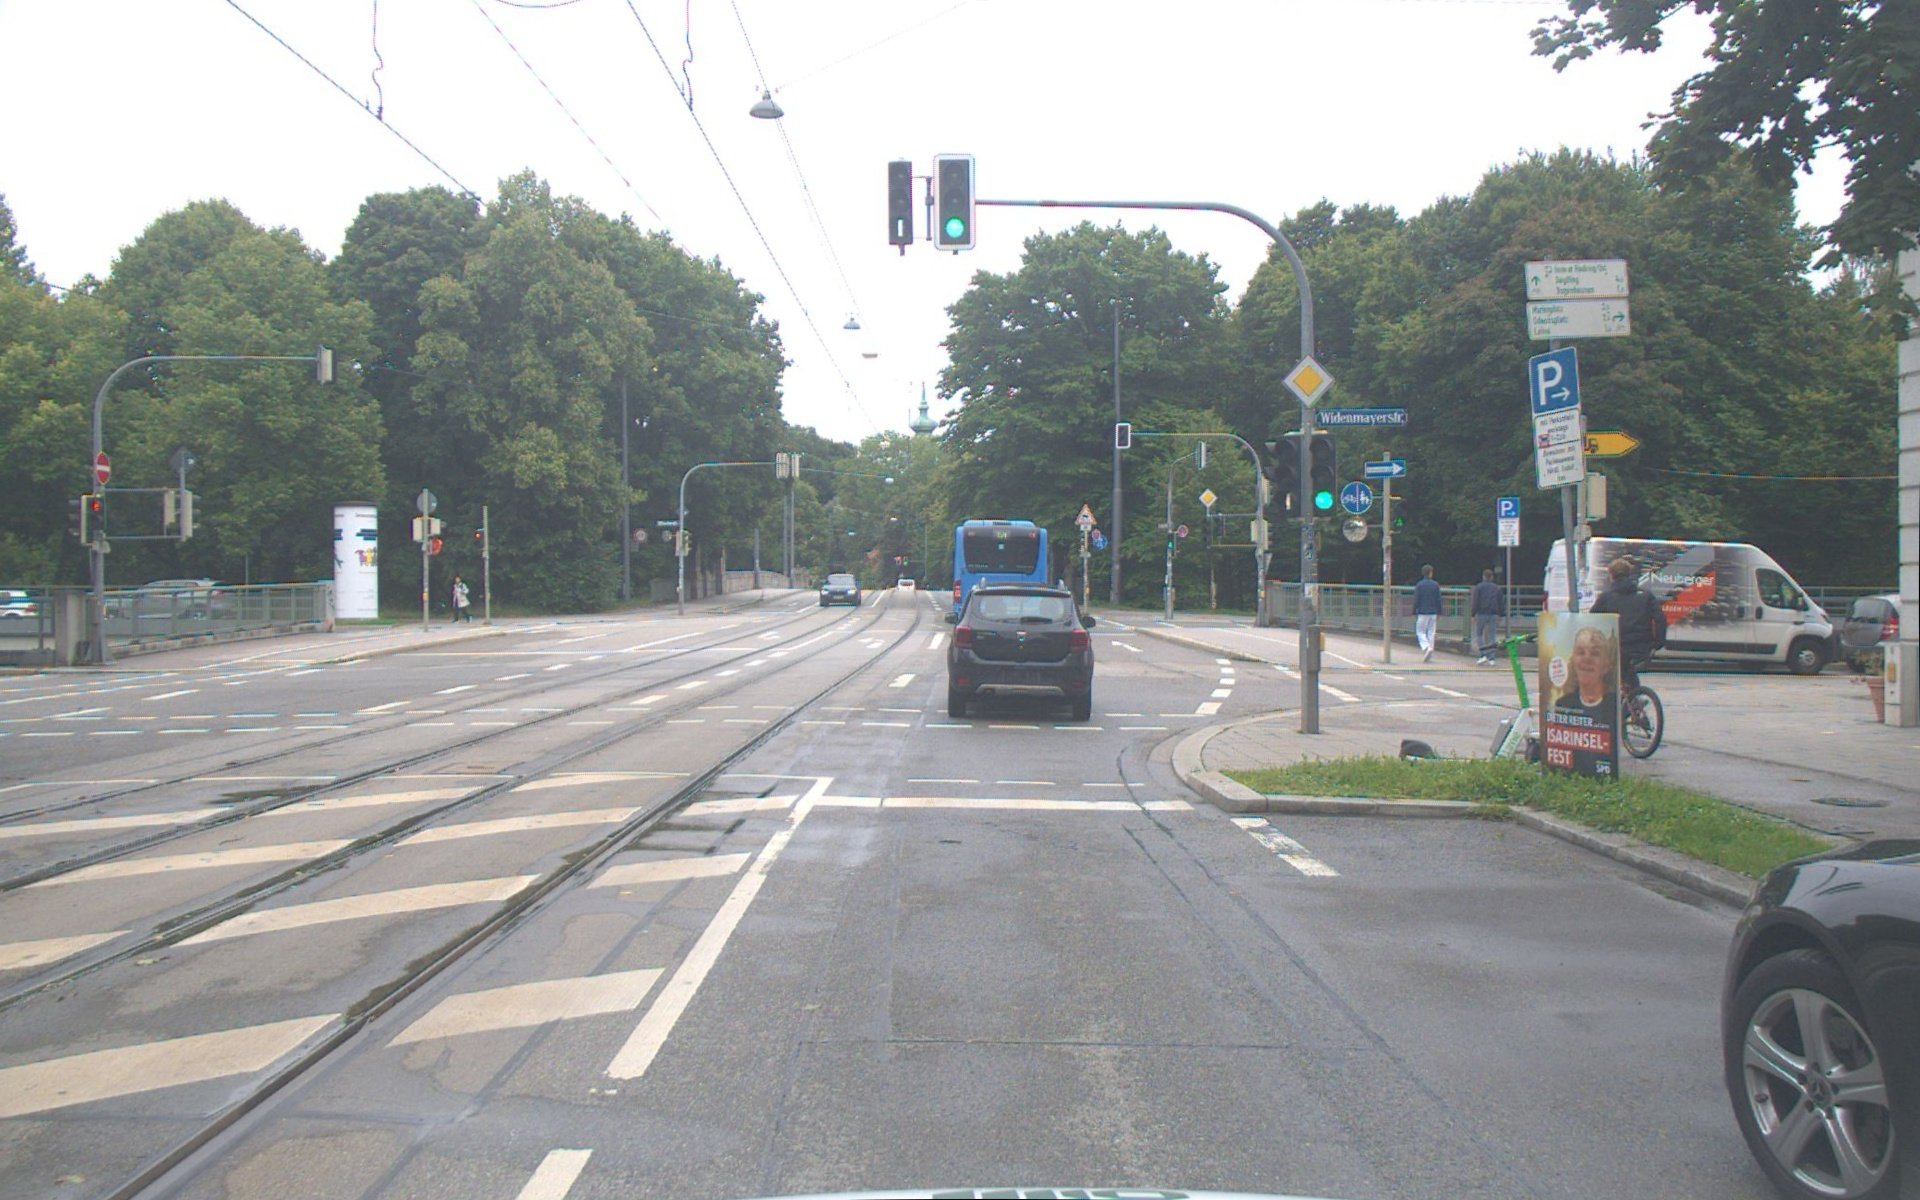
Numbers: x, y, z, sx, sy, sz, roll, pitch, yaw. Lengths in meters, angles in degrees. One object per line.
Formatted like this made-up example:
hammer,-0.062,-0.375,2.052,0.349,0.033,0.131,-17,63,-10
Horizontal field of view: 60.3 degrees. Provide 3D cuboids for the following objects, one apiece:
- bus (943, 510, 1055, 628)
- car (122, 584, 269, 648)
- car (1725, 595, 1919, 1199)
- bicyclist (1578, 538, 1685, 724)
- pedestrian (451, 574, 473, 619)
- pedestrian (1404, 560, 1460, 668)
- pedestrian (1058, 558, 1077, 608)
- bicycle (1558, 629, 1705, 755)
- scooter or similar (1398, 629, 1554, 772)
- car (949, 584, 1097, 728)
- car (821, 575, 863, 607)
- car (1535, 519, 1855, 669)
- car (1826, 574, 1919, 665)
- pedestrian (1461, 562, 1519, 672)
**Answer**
bus,0.989,-0.818,46.944,2.625,3.050,6.957,1,0,-3
car,-24.480,0.515,53.030,3.946,1.920,1.488,1,0,-8
car,2.959,0.819,2.340,1.679,1.619,4.326,1,0,-1
bicyclist,6.549,0.299,16.158,0.709,1.759,0.726,1,0,-2
pedestrian,-17.101,-0.105,56.839,0.520,1.527,0.588,1,0,3
pedestrian,9.142,0.269,32.075,0.813,2.049,0.780,1,0,-1
pedestrian,4.756,-0.752,73.078,0.747,2.153,0.853,1,0,-1
bicycle,6.538,0.865,16.210,0.567,1.097,1.911,-2,0,-2
scooter or similar,4.277,0.819,13.776,1.167,1.115,0.590,1,0,12
car,0.697,0.629,20.318,1.568,1.584,3.524,1,0,-1
car,-5.399,-0.400,76.063,1.752,1.394,3.399,1,0,-2
car,14.121,-0.102,31.984,5.191,2.658,2.229,1,0,-4
car,19.096,0.405,32.315,3.368,1.712,1.840,1,0,-3
pedestrian,10.102,0.312,31.537,0.813,2.049,0.780,1,0,-1
